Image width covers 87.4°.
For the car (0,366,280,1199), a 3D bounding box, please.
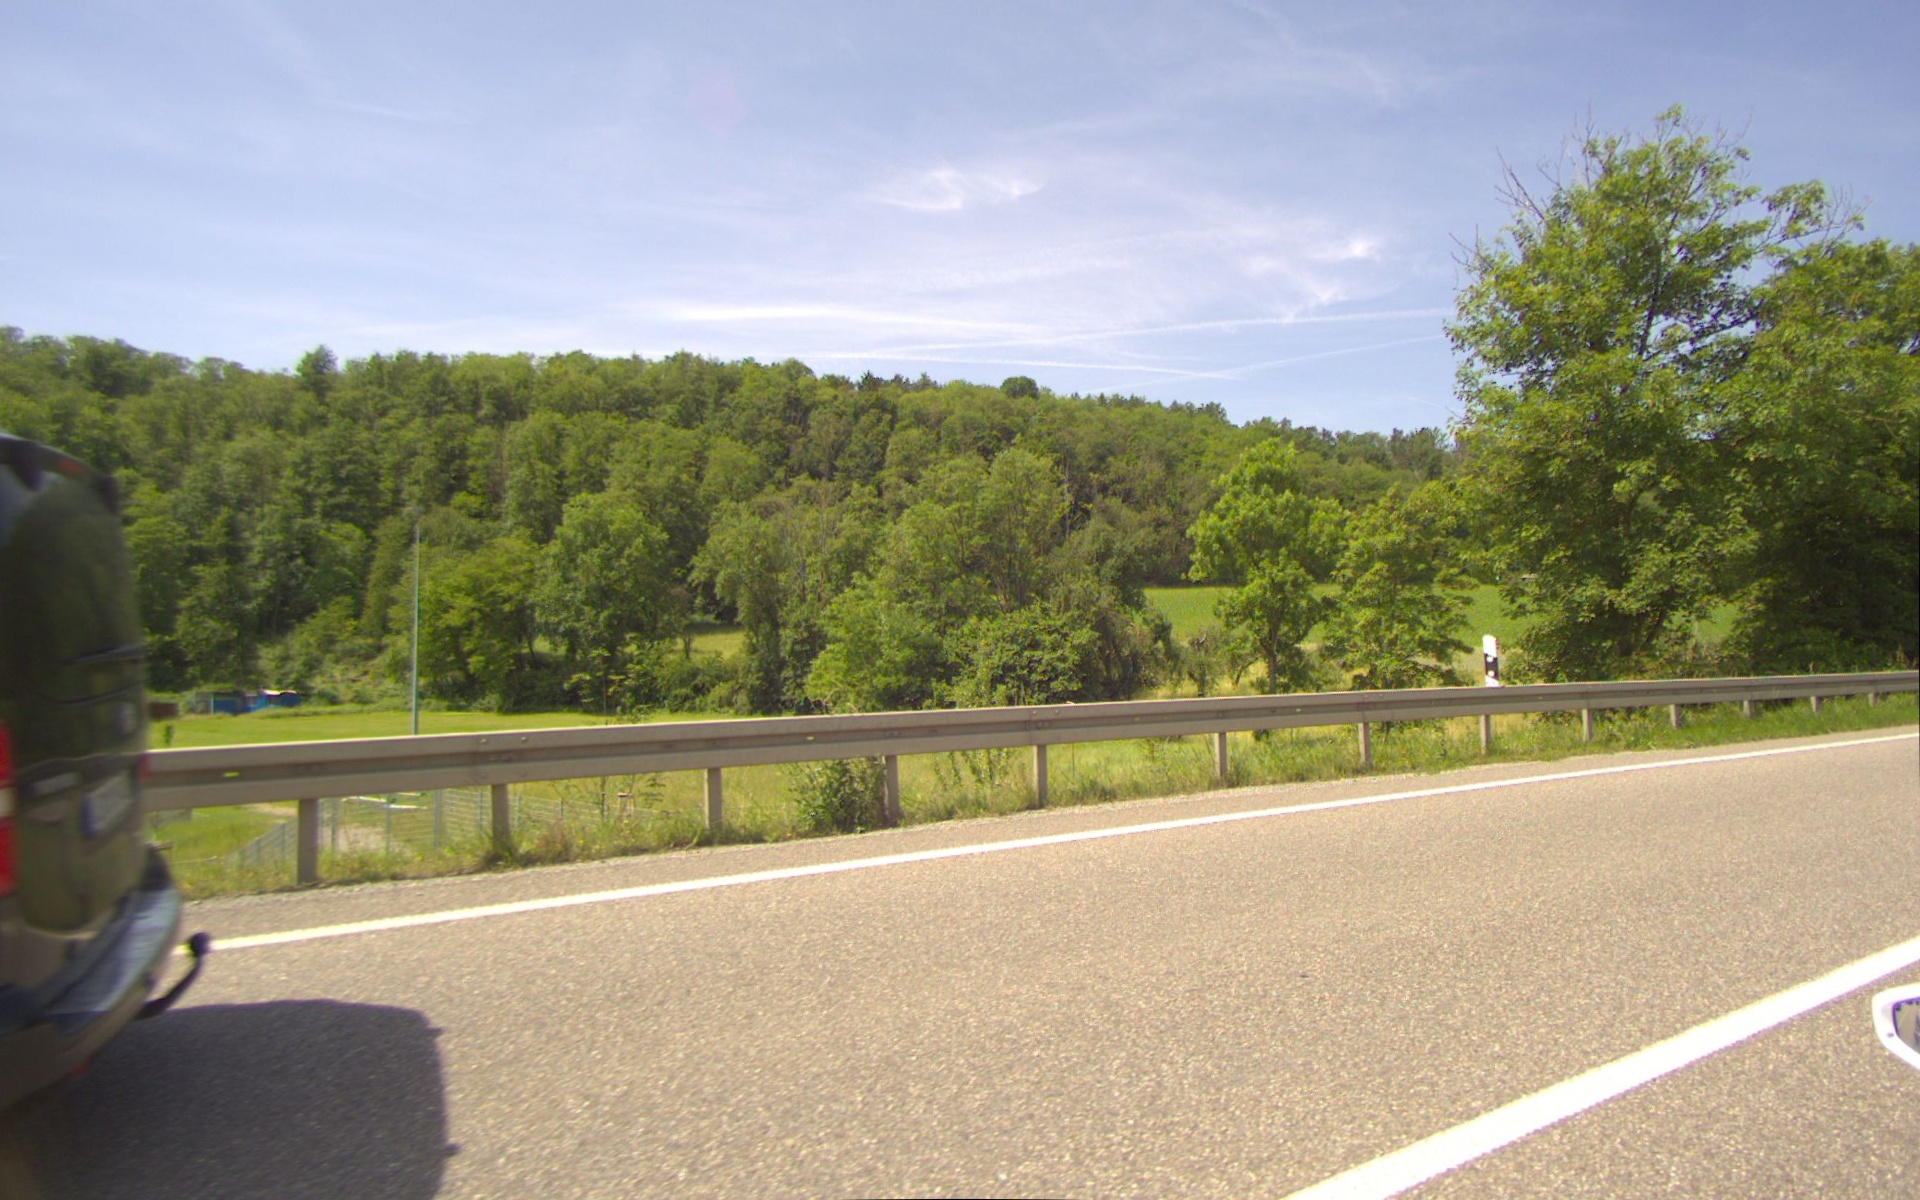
[{"bbox_3d":[-4.335,0.429,1.709,5.116,1.884,1.912,1,0,-31],"label":"car"}]
